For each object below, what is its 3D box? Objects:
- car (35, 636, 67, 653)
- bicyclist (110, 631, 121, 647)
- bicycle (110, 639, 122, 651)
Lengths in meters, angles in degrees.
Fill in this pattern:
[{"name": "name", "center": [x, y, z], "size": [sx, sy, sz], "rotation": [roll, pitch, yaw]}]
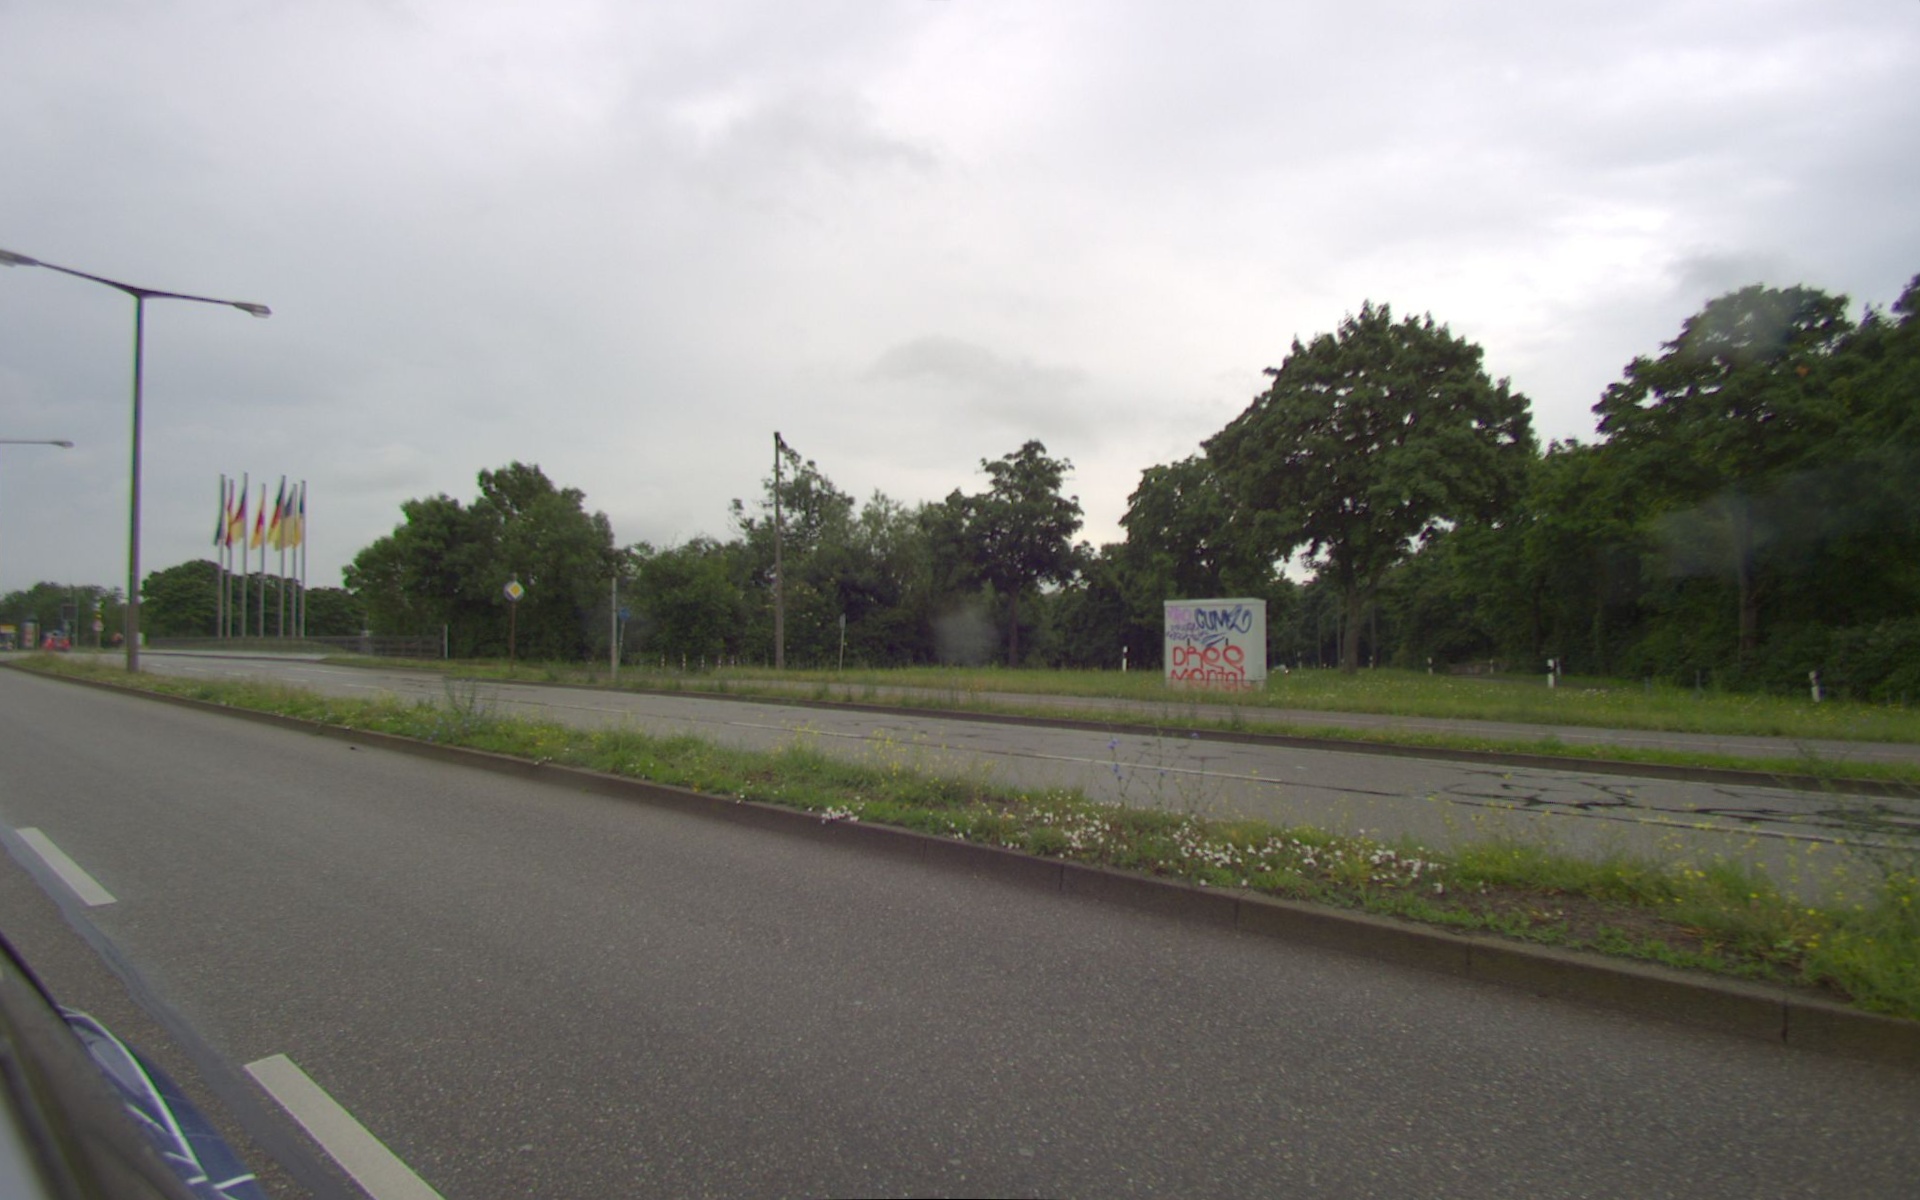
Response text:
[{"name": "car", "center": [-81.193, 3.952, 90.428], "size": [3.555, 1.459, 1.643], "rotation": [-2, -4, 41]}, {"name": "bicyclist", "center": [-78.954, 3.665, 94.644], "size": [1.002, 1.511, 0.613], "rotation": [-2, -1, 41]}, {"name": "bicycle", "center": [-78.941, 4.205, 94.639], "size": [2.000, 1.041, 0.603], "rotation": [-2, -1, 41]}]
